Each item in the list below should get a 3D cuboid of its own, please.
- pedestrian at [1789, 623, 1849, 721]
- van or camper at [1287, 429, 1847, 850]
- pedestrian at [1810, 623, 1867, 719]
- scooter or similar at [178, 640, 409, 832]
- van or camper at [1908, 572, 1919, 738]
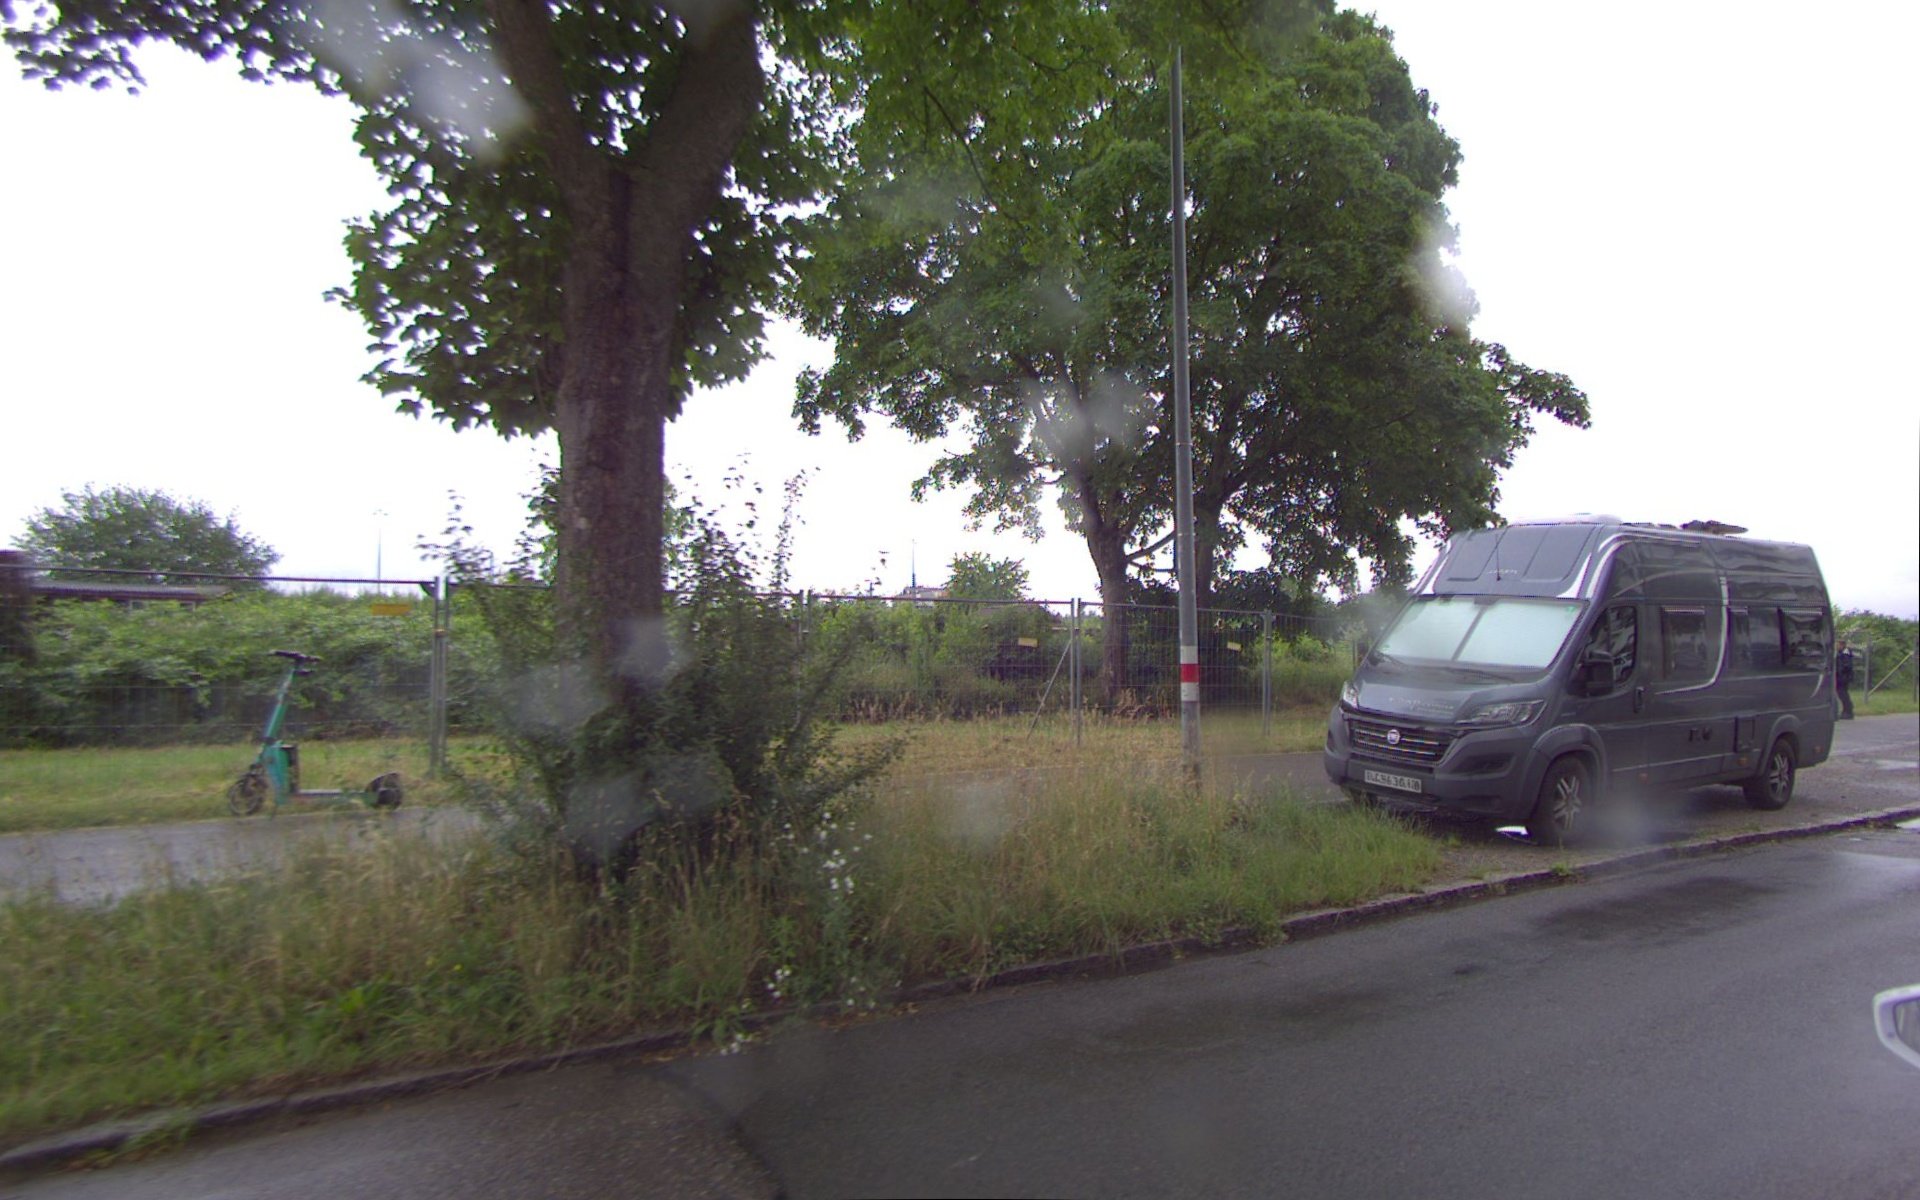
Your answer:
[{"bbox_3d":[18.412,1.523,21.524,0.890,2.040,0.734,2,-2,-31],"label":"pedestrian"},{"bbox_3d":[6.292,0.415,10.046,6.352,3.135,2.084,2,-1,-31],"label":"van or camper"},{"bbox_3d":[19.268,1.538,22.045,0.843,2.040,0.716,2,-2,-31],"label":"pedestrian"},{"bbox_3d":[-5.014,0.991,7.657,1.394,1.357,0.433,2,-3,-30],"label":"scooter or similar"},{"bbox_3d":[19.567,1.055,17.873,7.490,2.751,2.083,3,-1,-32],"label":"van or camper"}]
